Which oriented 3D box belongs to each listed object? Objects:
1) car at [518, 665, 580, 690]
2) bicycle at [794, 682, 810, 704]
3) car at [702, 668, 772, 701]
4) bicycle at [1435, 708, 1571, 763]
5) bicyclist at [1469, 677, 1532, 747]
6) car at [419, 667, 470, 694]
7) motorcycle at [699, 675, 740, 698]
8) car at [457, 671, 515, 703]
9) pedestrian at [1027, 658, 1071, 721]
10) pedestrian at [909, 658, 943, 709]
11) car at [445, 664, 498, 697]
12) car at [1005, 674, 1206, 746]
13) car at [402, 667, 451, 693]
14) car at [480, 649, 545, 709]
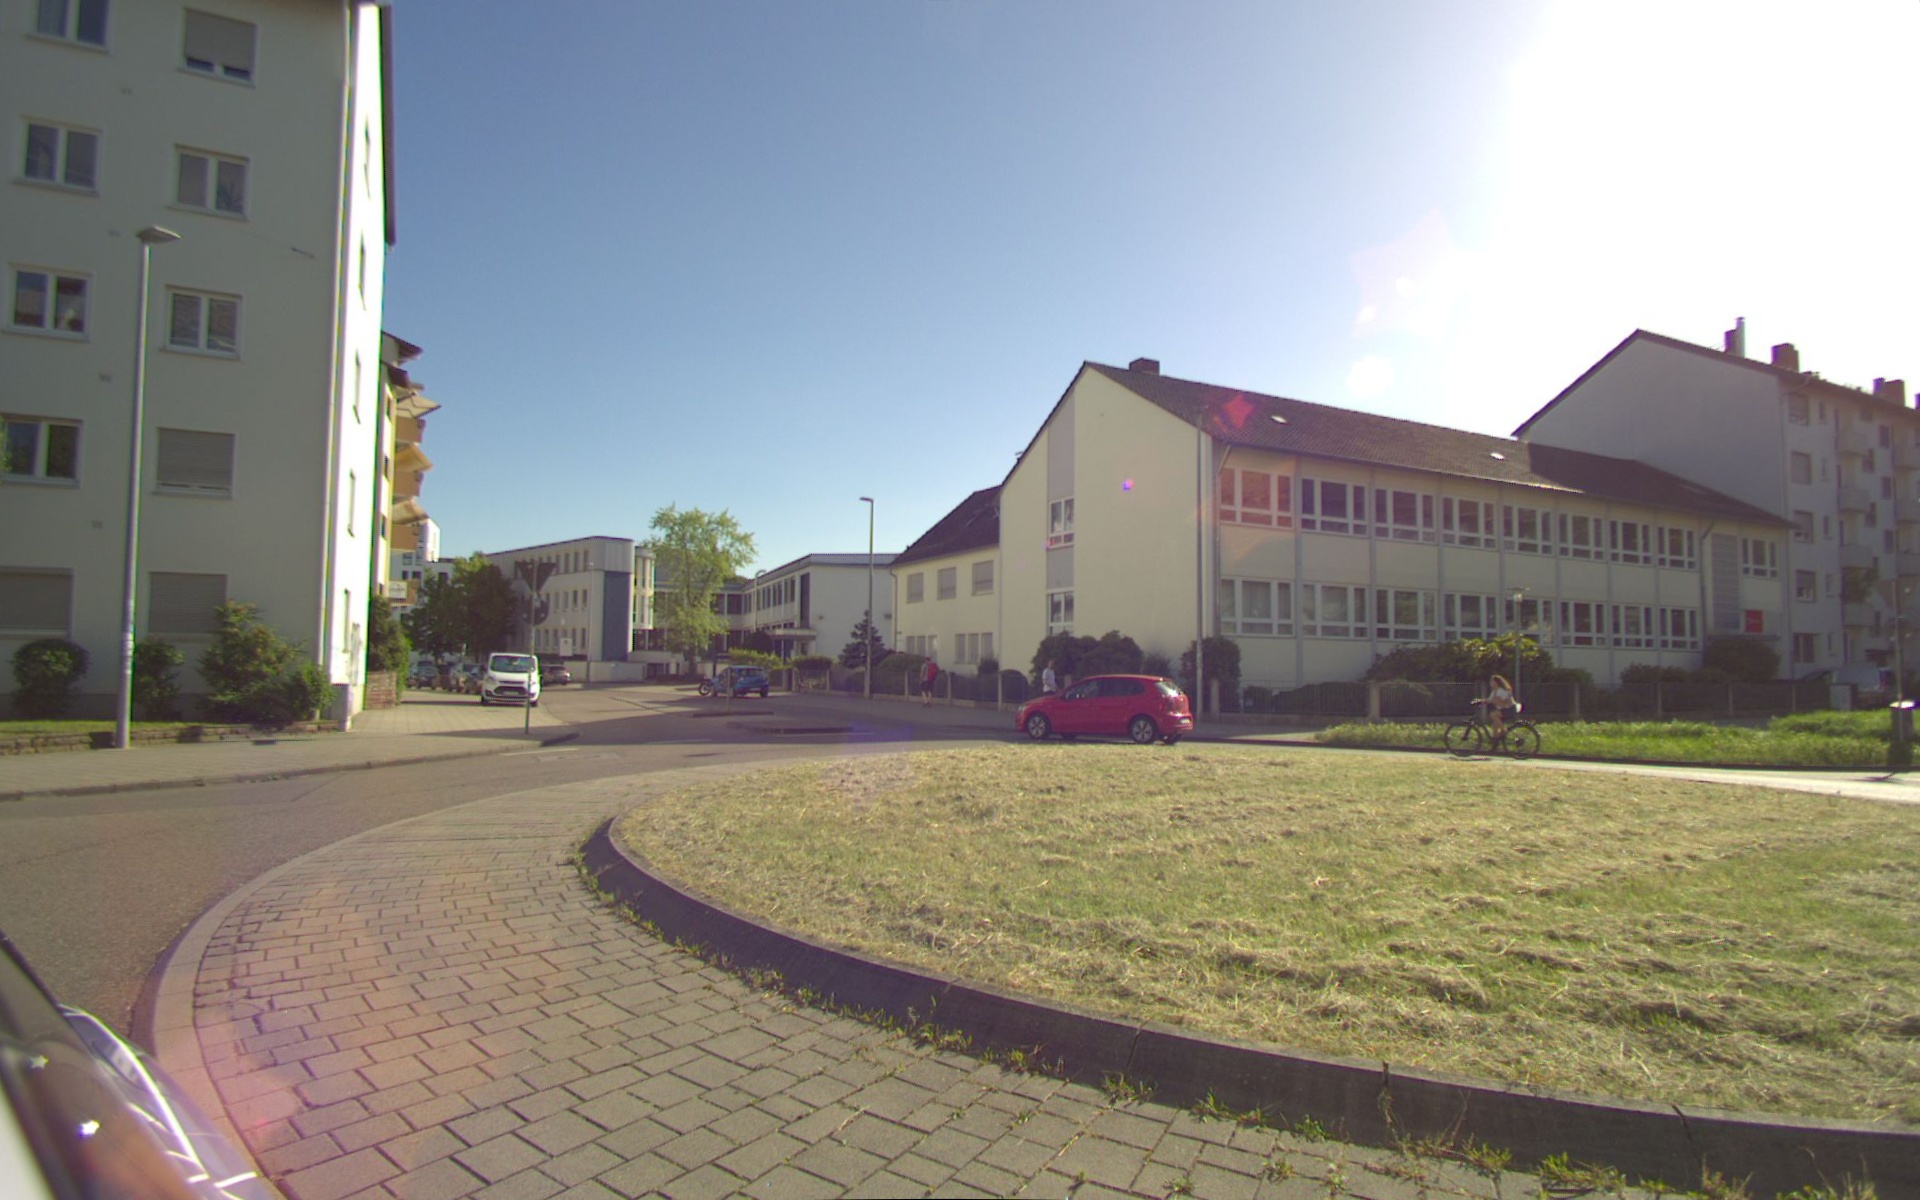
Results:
[{"bbox_3d":[-28.642,5.354,70.436,4.834,1.626,2.109,-3,-4,42],"label":"car"},{"bbox_3d":[-7.792,4.582,49.911,0.340,1.023,1.267,3,-5,-31],"label":"bicycle"},{"bbox_3d":[-10.553,3.933,47.746,1.854,1.445,4.426,1,-4,-32],"label":"car"},{"bbox_3d":[10.714,2.662,20.030,2.185,1.022,0.809,-1,-3,8],"label":"bicycle"},{"bbox_3d":[10.698,2.204,20.052,0.816,1.322,0.809,-1,-3,8],"label":"bicyclist"},{"bbox_3d":[-30.845,4.815,60.543,1.731,1.465,4.006,8,-8,-39],"label":"car"},{"bbox_3d":[-11.949,4.315,50.366,1.935,1.104,0.591,-1,-4,-3],"label":"motorcycle"},{"bbox_3d":[-24.012,4.393,51.232,1.730,1.405,4.008,8,-8,-37],"label":"car"},{"bbox_3d":[2.493,2.488,28.429,0.997,1.719,0.682,-4,-5,44],"label":"pedestrian"},{"bbox_3d":[-1.205,2.908,35.340,0.805,1.719,1.000,2,-4,-30],"label":"pedestrian"},{"bbox_3d":[-26.520,4.360,54.919,1.730,1.654,4.008,8,-8,-36],"label":"car"},{"bbox_3d":[3.129,2.340,21.935,3.988,1.393,1.698,-2,-6,33],"label":"car"},{"bbox_3d":[-33.754,5.037,63.990,1.731,1.465,4.006,8,-8,-40],"label":"car"},{"bbox_3d":[-17.096,3.011,38.645,1.965,2.029,4.812,5,-6,-24],"label":"car"}]
